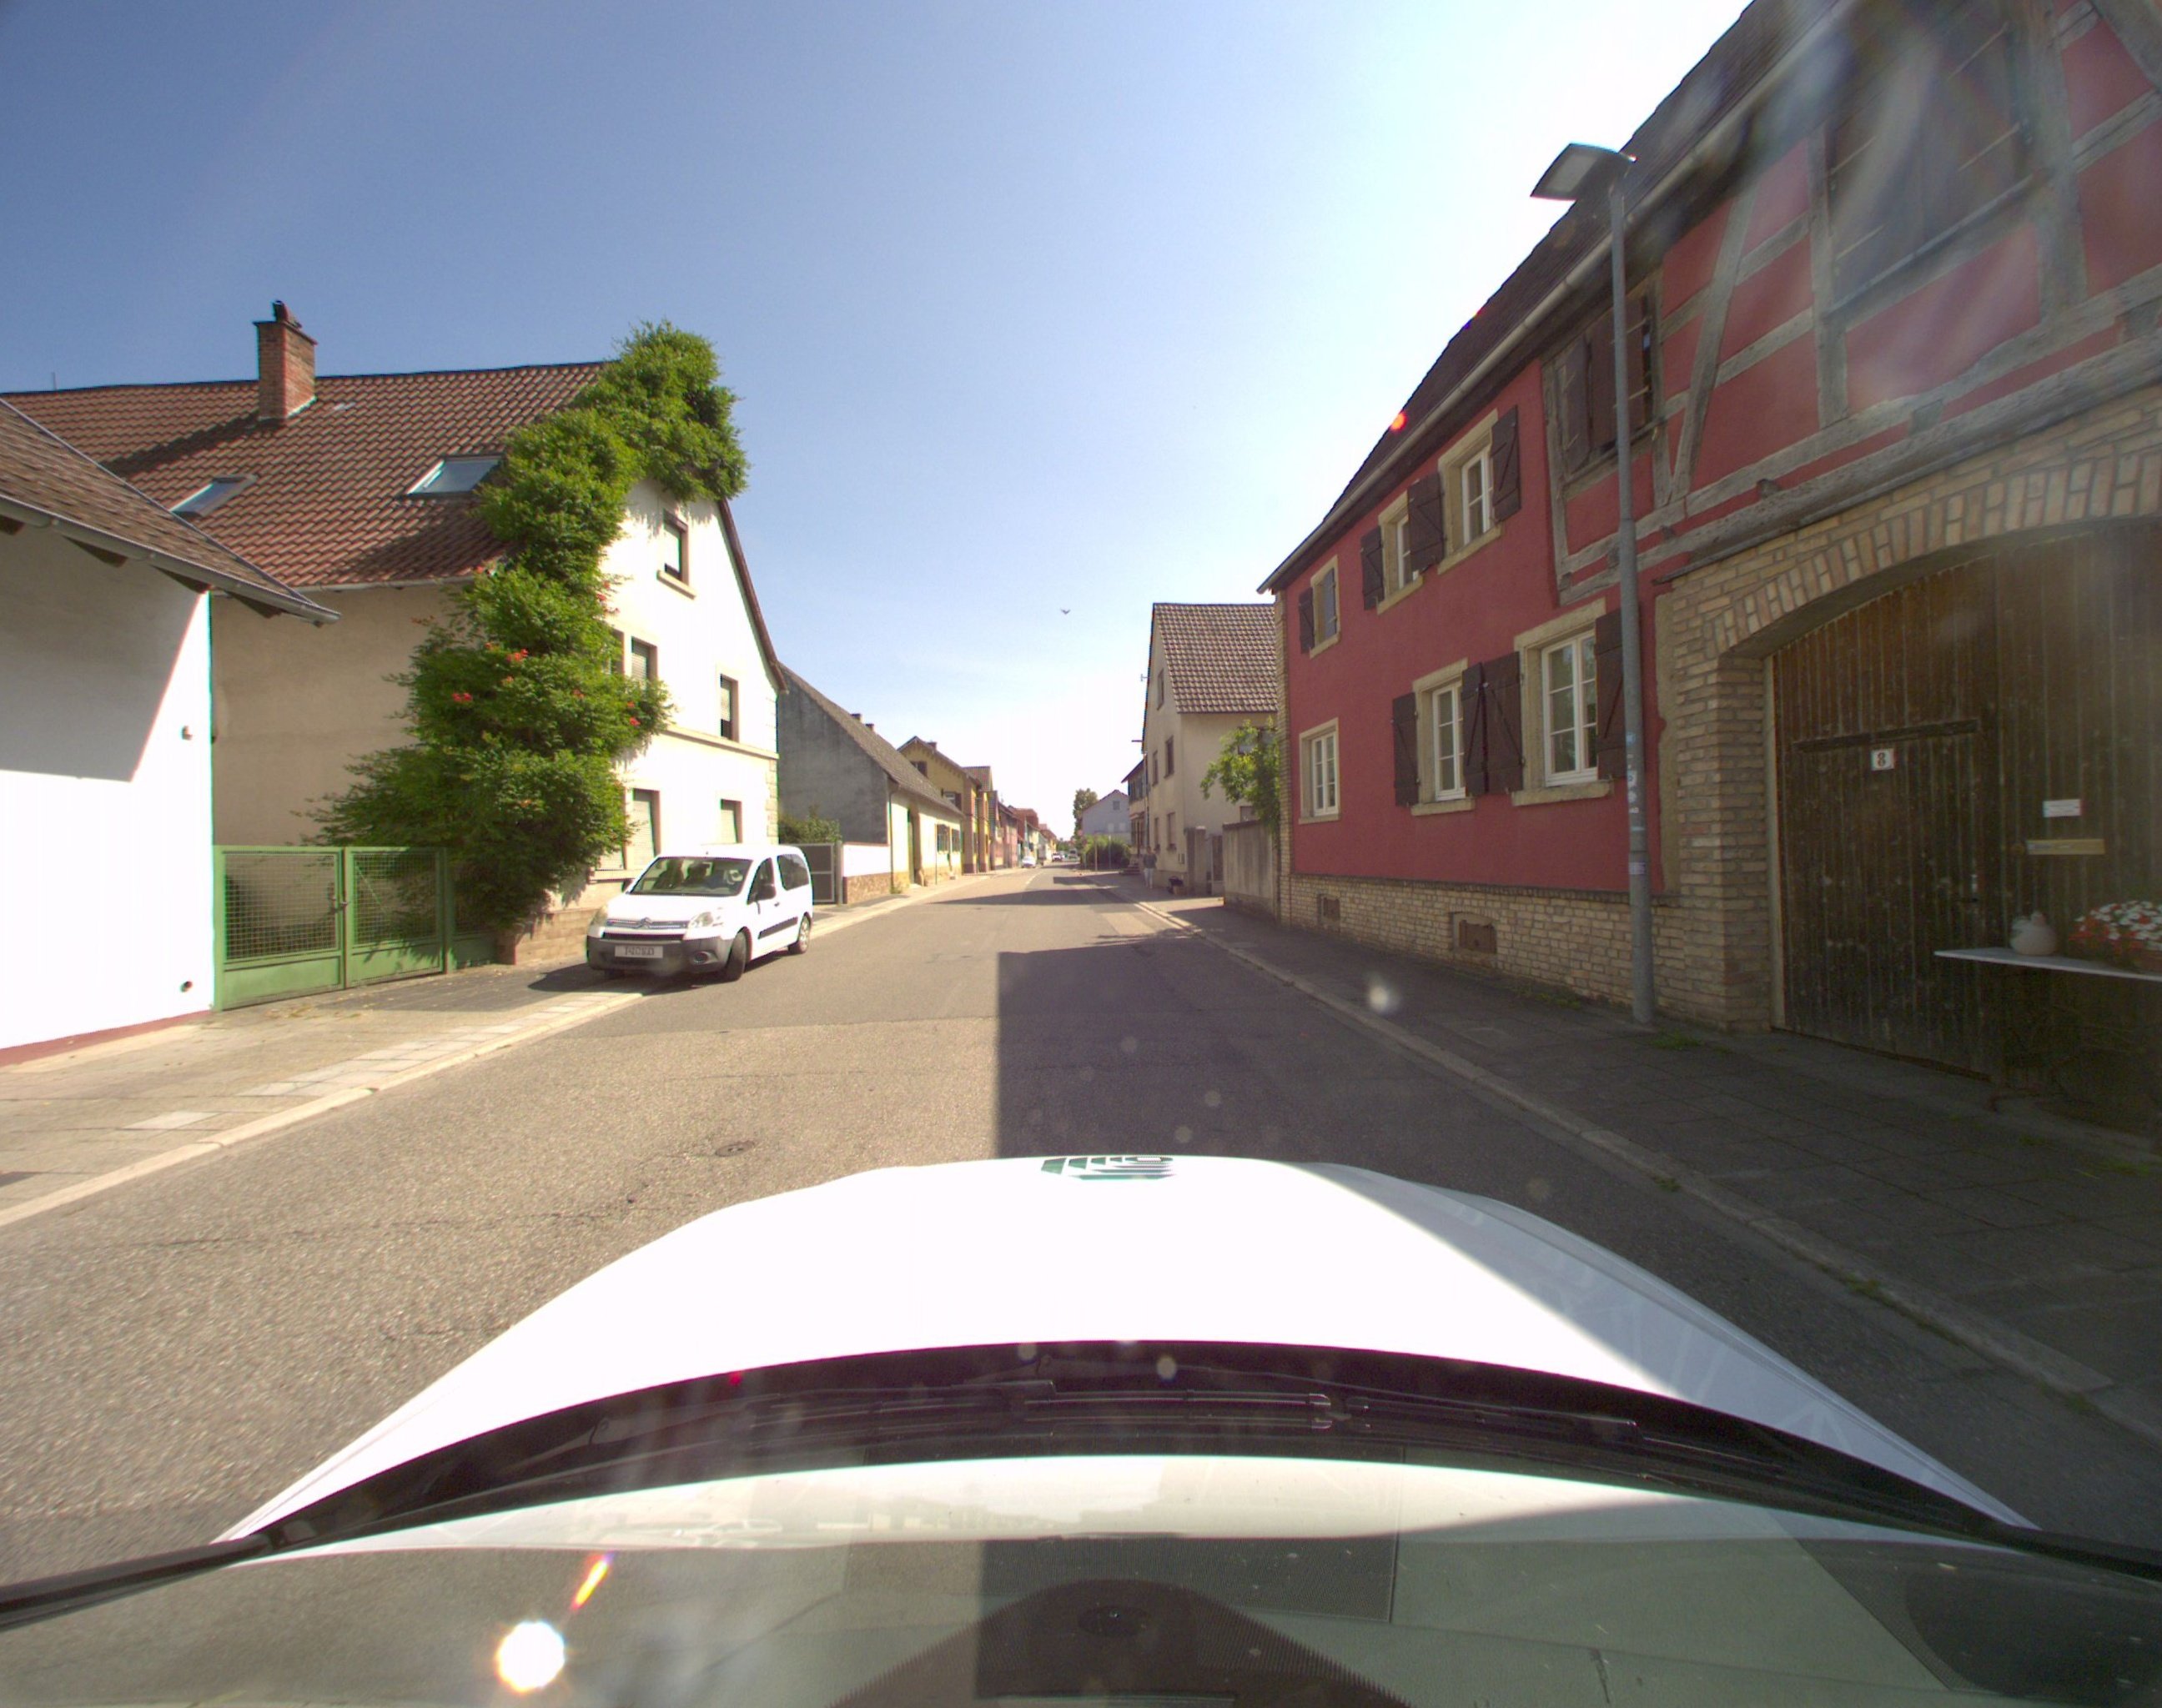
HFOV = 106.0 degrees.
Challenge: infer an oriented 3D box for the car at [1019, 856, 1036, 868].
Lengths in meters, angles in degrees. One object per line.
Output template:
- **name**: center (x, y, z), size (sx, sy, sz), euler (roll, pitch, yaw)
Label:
- **car**: center (-7.018, 1.062, 106.626), size (1.988, 1.442, 3.997), euler (-2, 0, -2)

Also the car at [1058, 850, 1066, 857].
- **car**: center (-5.075, -0.116, 216.325), size (1.988, 1.750, 3.998), euler (-1, 0, -1)

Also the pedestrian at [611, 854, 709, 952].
- **pedestrian**: center (-7.005, 0.782, 13.619), size (1.010, 1.552, 1.139), euler (-1, 0, -2)

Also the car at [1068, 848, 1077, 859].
- **car**: center (-2.252, -0.145, 210.316), size (2.012, 2.567, 3.996), euler (-2, 0, -2)

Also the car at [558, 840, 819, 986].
- **car**: center (-5.303, 0.677, 11.765), size (1.852, 1.647, 4.423), euler (-1, 0, -4)

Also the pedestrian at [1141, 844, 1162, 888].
- **pedestrian**: center (2.699, 0.465, 31.428), size (0.716, 1.664, 0.893), euler (-1, 0, 1)

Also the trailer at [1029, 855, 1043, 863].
- **trailer**: center (-6.796, 0.736, 123.162), size (1.990, 1.090, 3.994), euler (-2, 1, -5)

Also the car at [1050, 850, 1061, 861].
- **car**: center (-5.126, 0.265, 164.021), size (2.153, 2.080, 3.995), euler (-2, -1, -3)
